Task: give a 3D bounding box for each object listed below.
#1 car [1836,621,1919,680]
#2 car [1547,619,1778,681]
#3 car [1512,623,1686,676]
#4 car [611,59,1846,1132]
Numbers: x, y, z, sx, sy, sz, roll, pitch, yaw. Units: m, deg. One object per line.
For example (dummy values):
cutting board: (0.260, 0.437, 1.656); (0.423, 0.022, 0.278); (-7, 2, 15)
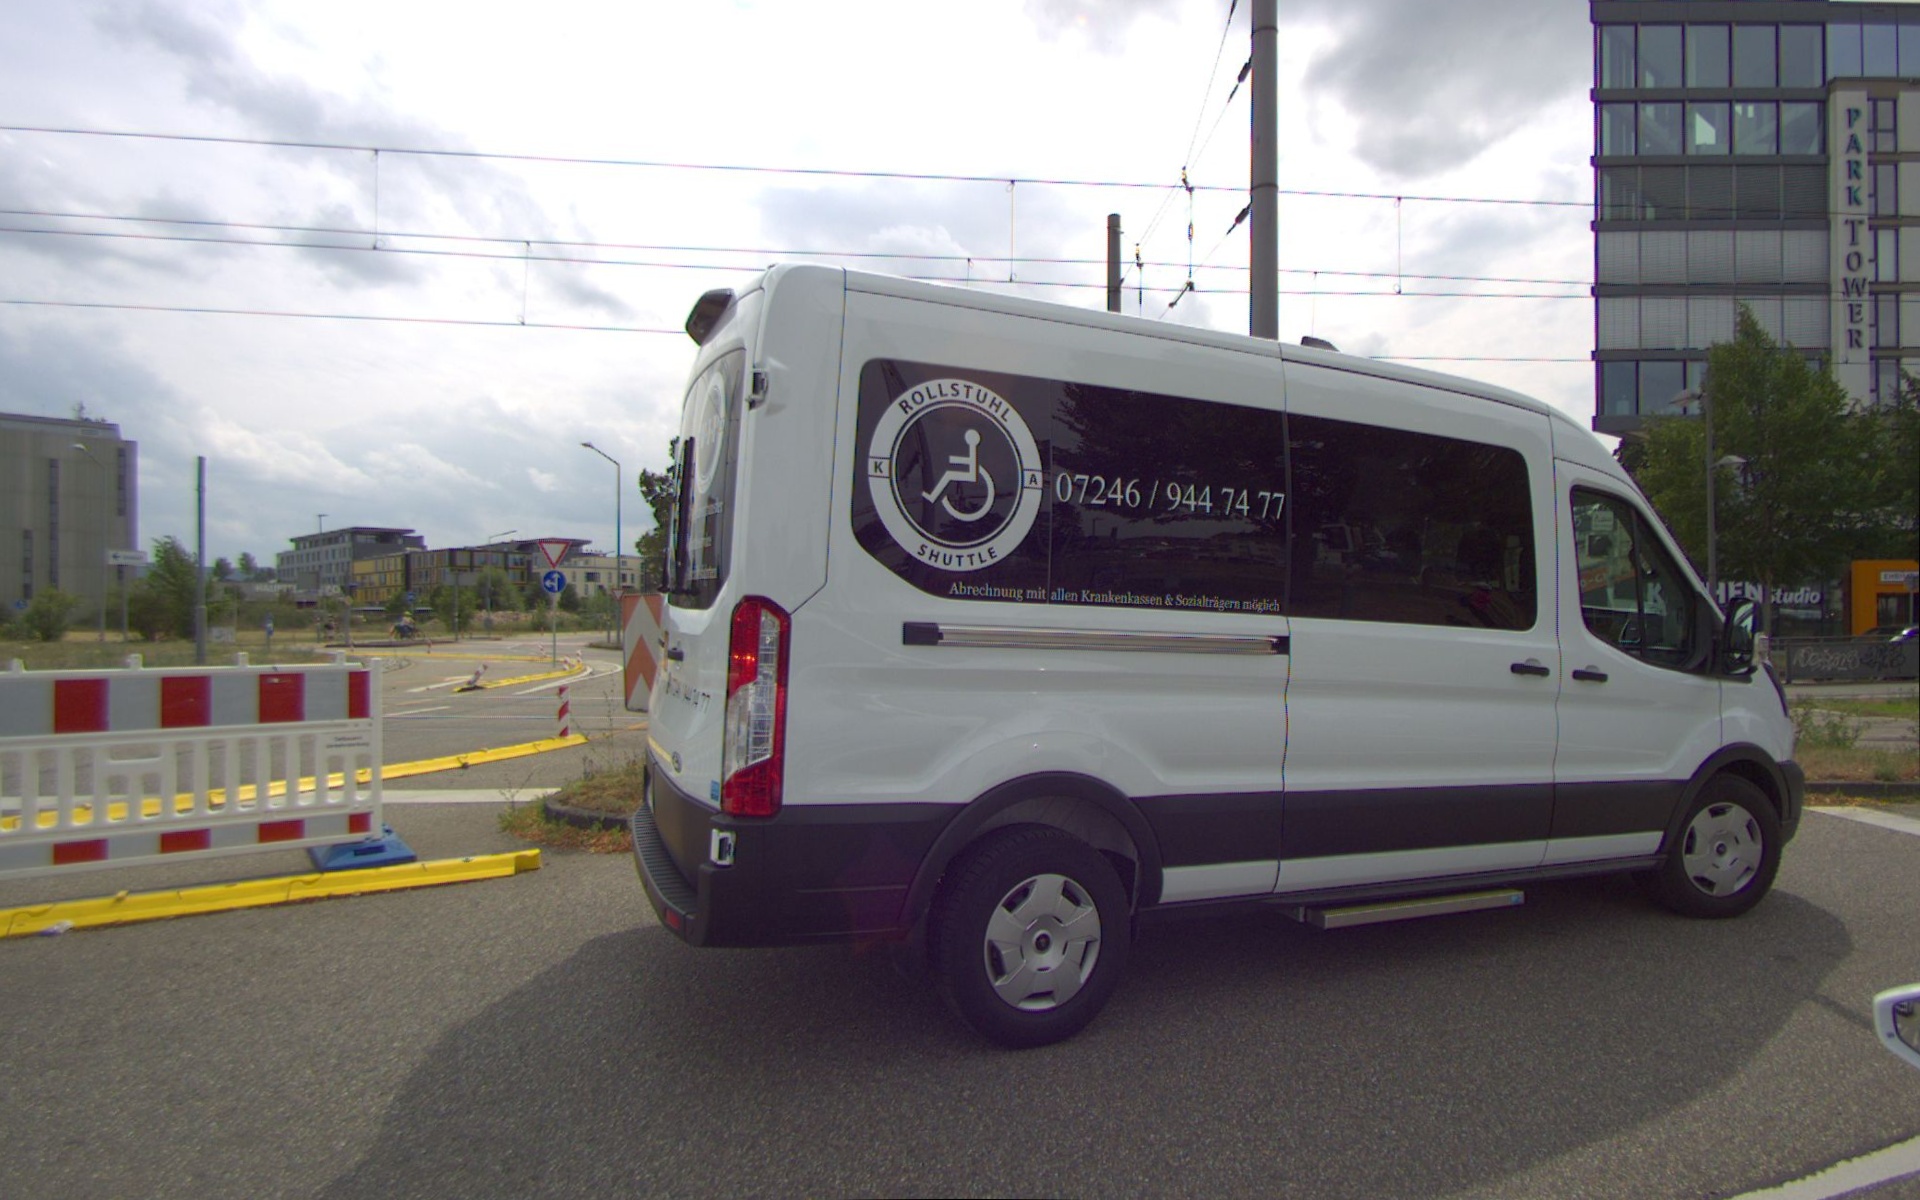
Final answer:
car: (25.831, 1.316, 26.420); (3.920, 1.477, 1.849); (0, 0, 2)
car: (17.961, 1.258, 25.846); (4.644, 1.477, 1.849); (0, 0, 1)
car: (18.595, 1.419, 29.356); (3.920, 1.477, 1.849); (0, 0, 1)
car: (1.388, 0.018, 4.710); (5.555, 2.733, 2.120); (0, -1, -25)
